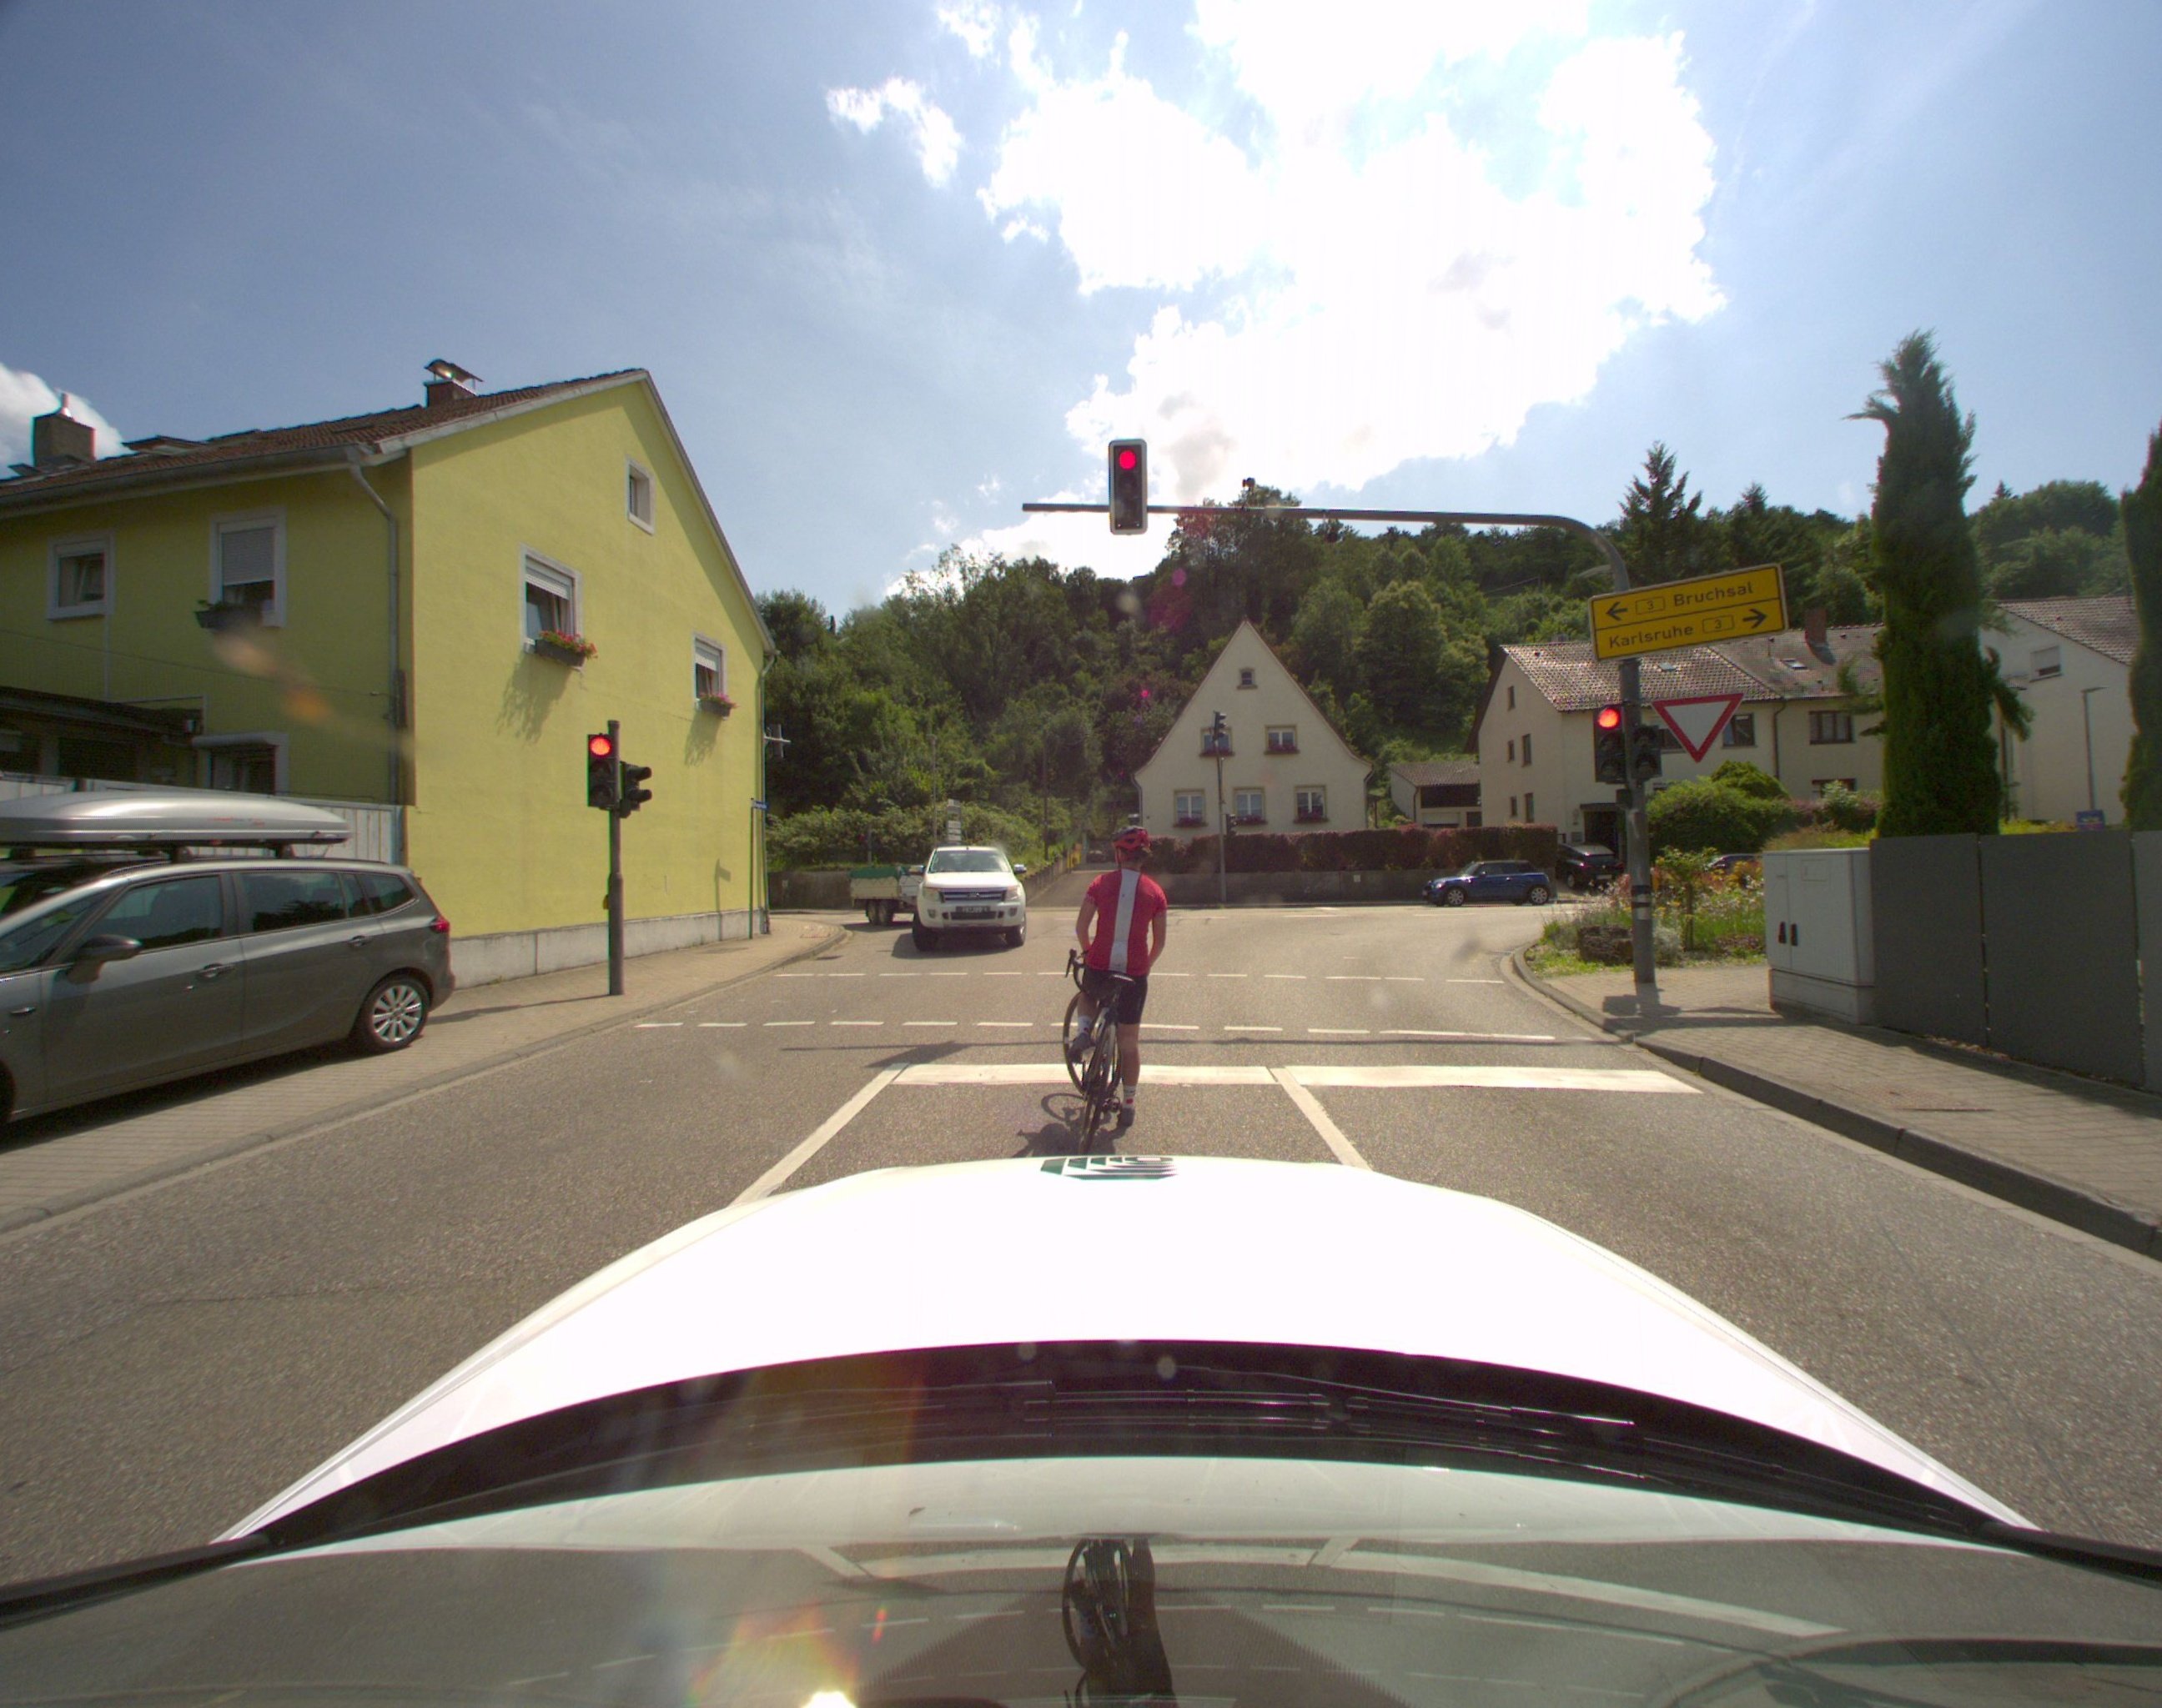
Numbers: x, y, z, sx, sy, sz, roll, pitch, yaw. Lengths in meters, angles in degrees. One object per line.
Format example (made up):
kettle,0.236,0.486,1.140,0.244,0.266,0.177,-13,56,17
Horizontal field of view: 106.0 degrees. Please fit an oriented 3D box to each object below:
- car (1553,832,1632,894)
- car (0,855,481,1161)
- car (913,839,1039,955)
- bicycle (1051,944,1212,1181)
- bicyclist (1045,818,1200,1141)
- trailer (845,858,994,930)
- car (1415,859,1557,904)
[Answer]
car,18.870,0.281,30.198,1.780,1.388,3.709,-1,13,21
car,-6.736,0.825,5.375,1.986,1.635,4.632,0,0,2
car,-2.216,0.724,15.828,1.974,1.775,5.292,-2,0,-12
bicycle,0.208,1.054,4.604,0.629,0.905,1.653,0,0,-7
bicyclist,0.201,0.649,4.688,0.760,1.664,0.866,0,-1,-7
trailer,-4.183,0.965,20.543,1.988,1.539,4.395,-2,0,-36
car,12.541,0.878,25.406,3.590,1.363,1.647,-1,-3,6
